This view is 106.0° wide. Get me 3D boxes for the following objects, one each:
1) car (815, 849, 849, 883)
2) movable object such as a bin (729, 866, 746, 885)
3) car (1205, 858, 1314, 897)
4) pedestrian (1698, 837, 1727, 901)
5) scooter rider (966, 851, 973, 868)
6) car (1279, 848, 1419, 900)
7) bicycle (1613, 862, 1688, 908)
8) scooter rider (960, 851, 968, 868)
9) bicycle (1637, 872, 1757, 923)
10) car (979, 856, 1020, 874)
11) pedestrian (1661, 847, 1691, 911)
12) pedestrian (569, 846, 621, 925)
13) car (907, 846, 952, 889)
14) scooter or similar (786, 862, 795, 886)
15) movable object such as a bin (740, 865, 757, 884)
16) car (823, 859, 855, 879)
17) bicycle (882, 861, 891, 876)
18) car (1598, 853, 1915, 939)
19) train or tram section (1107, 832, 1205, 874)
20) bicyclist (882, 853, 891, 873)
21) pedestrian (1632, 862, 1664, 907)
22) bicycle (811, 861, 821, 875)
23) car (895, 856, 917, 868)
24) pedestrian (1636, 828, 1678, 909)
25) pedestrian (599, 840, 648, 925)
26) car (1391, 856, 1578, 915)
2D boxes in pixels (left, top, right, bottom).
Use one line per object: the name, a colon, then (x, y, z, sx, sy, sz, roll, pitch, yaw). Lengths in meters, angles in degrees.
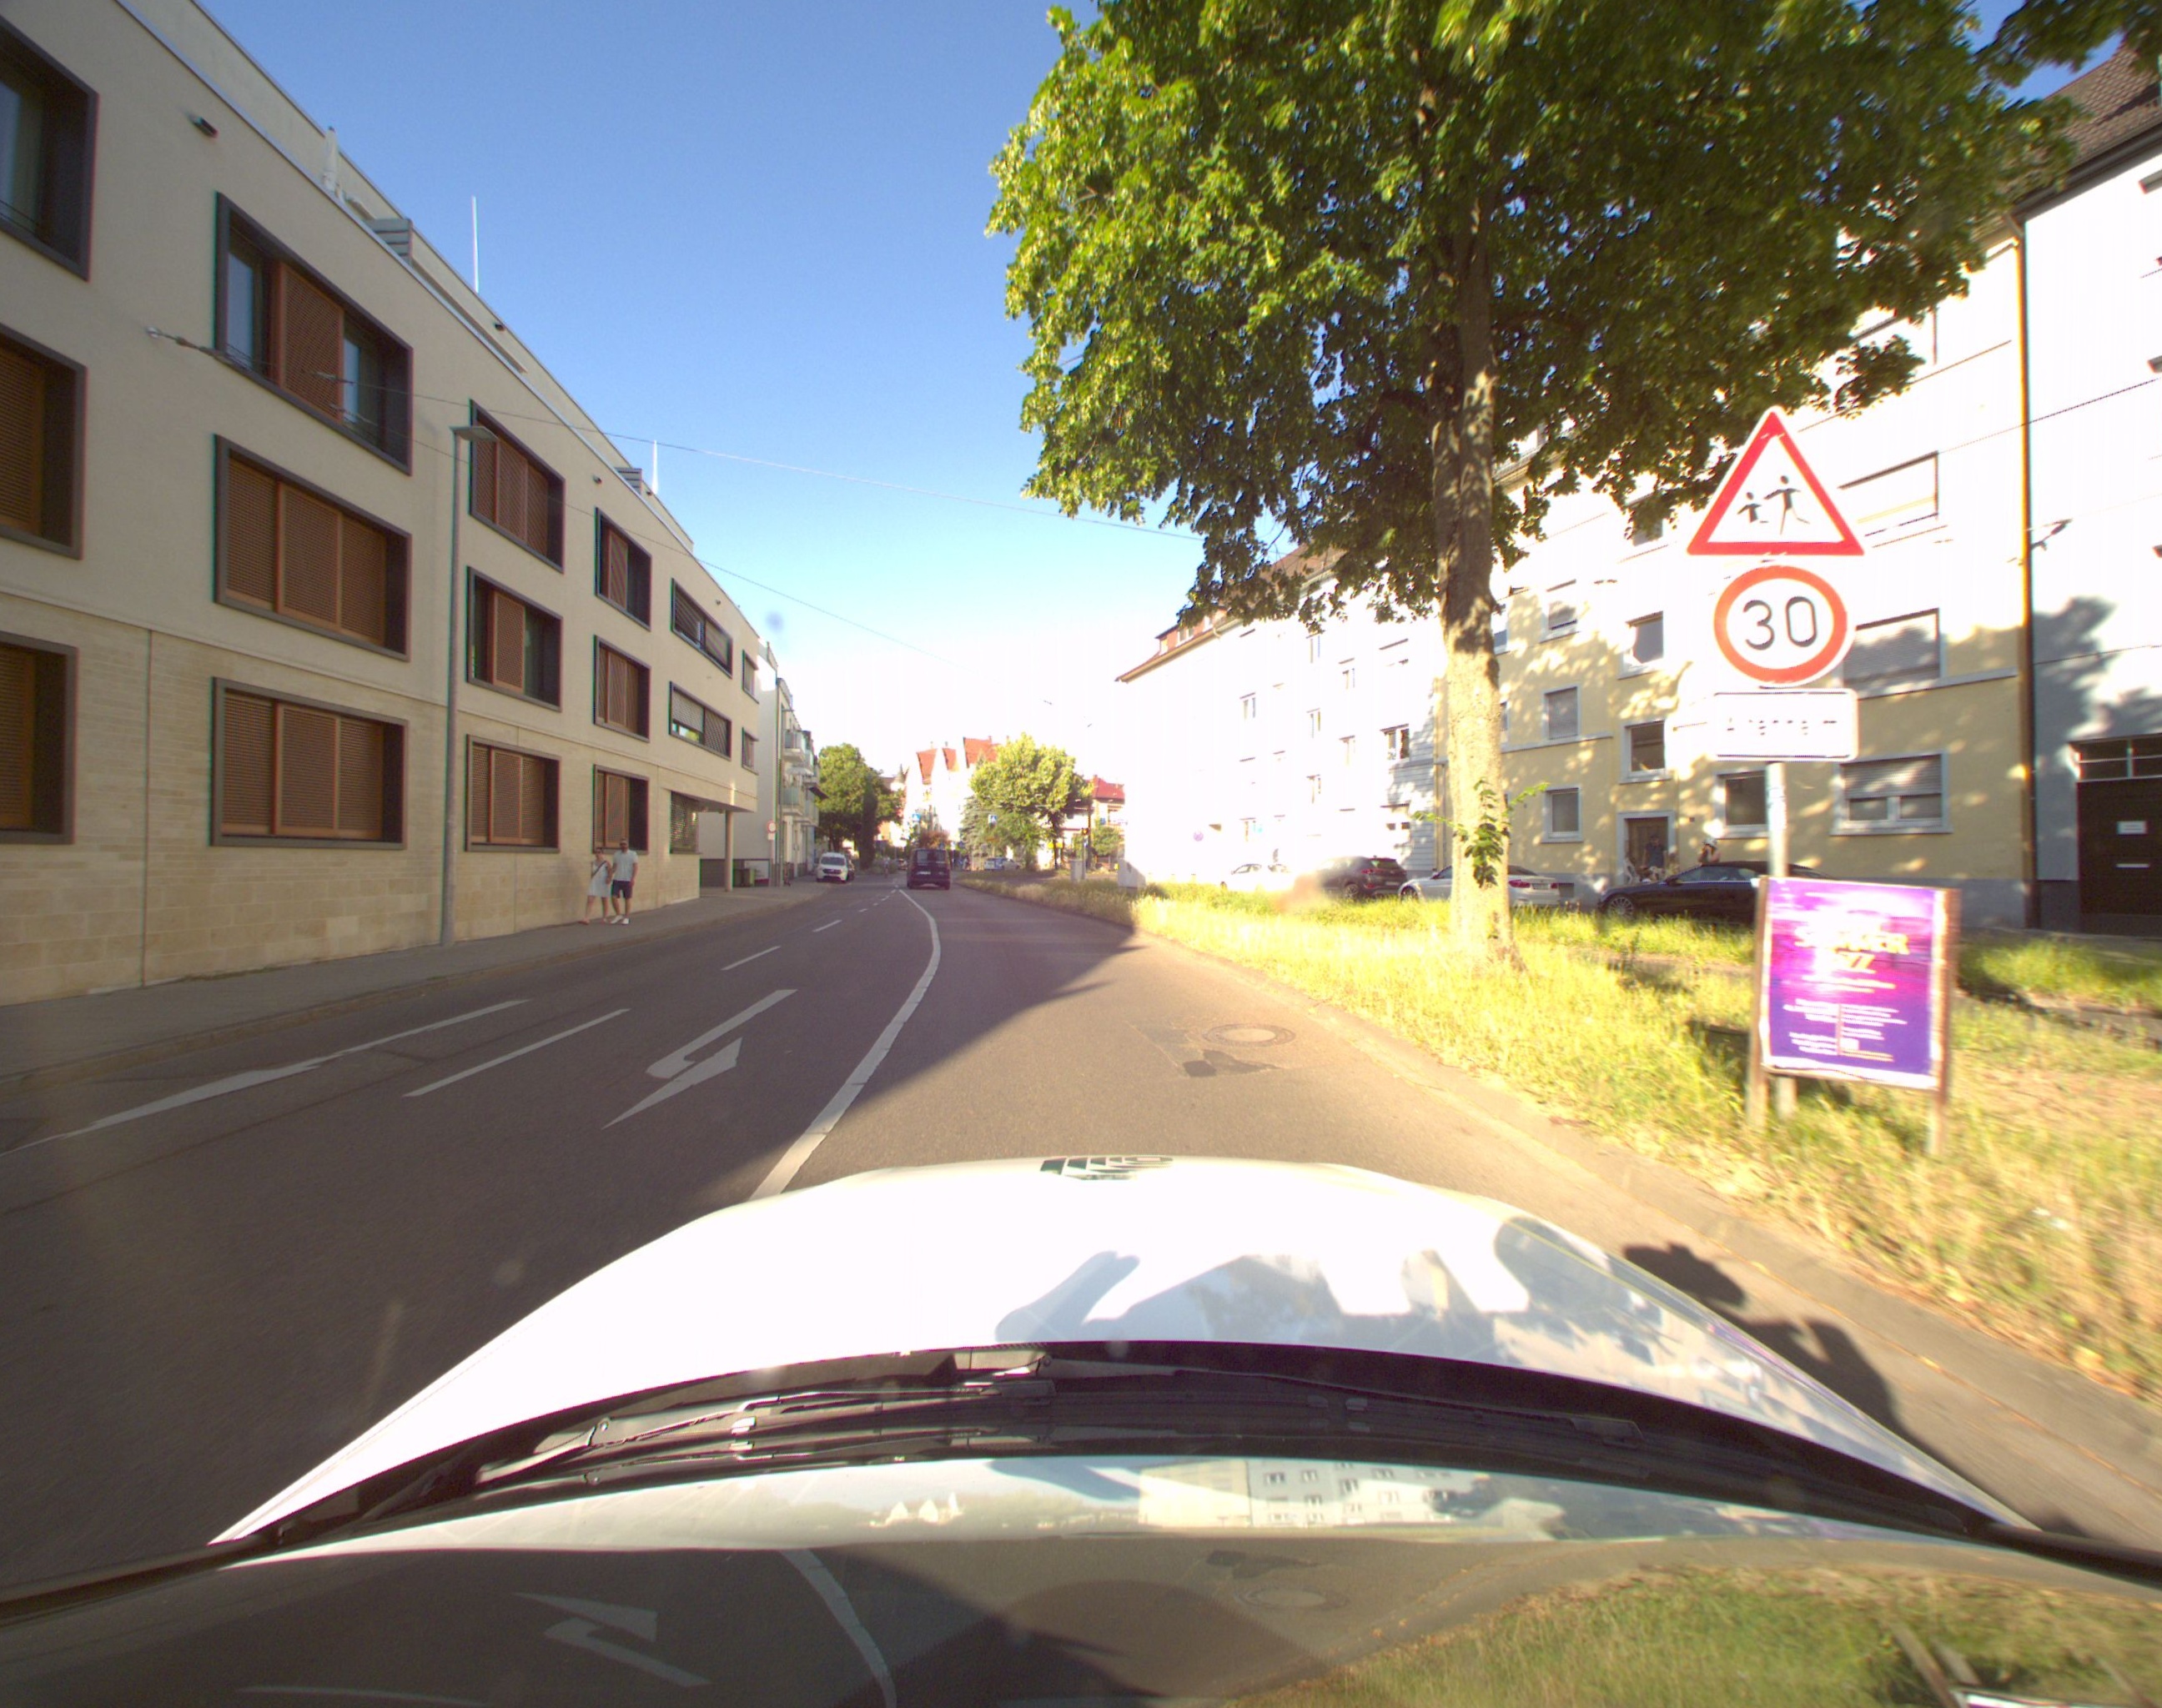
car: (-14.950, 0.717, 48.971, 1.815, 1.870, 4.307, 2, -1, -17)
movable object such as a bin: (-16.559, 1.032, 39.215, 0.545, 0.901, 0.531, 0, -1, 8)
car: (7.049, 0.877, 32.549, 2.003, 1.386, 4.410, -1, 1, -25)
pedestrian: (15.063, 0.359, 19.431, 0.306, 1.515, 0.439, -1, 0, -29)
scooter rider: (-11.277, 0.554, 82.350, 0.609, 1.672, 0.649, -1, 0, -24)
car: (8.936, 0.657, 27.598, 2.001, 1.572, 4.607, -1, -1, -22)
bicycle: (14.596, 0.778, 20.907, 0.536, 1.131, 1.504, -1, -1, -22)
scooter rider: (-11.773, 0.554, 81.916, 0.609, 1.672, 0.649, -1, 0, -24)
bicycle: (14.505, 0.992, 19.269, 0.536, 1.131, 2.291, -1, -1, -22)
car: (-7.303, 0.944, 73.137, 1.940, 1.505, 3.707, -1, 0, 26)
pedestrian: (14.173, 0.588, 19.403, 0.333, 1.515, 0.439, -1, 0, -26)
pedestrian: (-10.812, 0.692, 18.143, 0.702, 1.714, 0.840, 1, -1, -8)
car: (-7.516, 0.629, 40.781, 1.992, 2.013, 3.989, 1, 0, -8)
scooter or similar: (-14.816, 1.013, 41.470, 0.226, 1.220, 1.144, 1, 0, -29)
movable object such as a bin: (-15.998, 0.999, 39.137, 0.545, 0.901, 0.531, 0, -1, 8)
car: (-16.017, 0.982, 53.955, 1.665, 1.273, 4.009, 2, -1, -12)
bicycle: (-14.150, 1.050, 59.322, 0.623, 1.081, 1.775, -1, -1, -14)
car: (12.993, 0.700, 16.062, 2.001, 1.386, 4.414, -1, 1, -22)
train or tram section: (6.840, -0.091, 72.933, 9.974, 3.555, 2.751, 0, 0, -43)
bicyclist: (-14.169, 0.648, 59.377, 0.623, 1.380, 0.797, -1, -1, -14)
pedestrian: (13.537, 0.716, 19.456, 0.433, 1.065, 0.458, 0, -1, -21)
bicycle: (-21.249, 1.100, 65.182, 0.579, 1.109, 1.856, 1, -1, -24)
car: (-22.769, 1.049, 105.661, 2.003, 1.596, 3.967, 1, -1, -25)
pedestrian: (14.733, 0.366, 20.843, 0.614, 2.014, 0.645, 0, -1, -22)
pedestrian: (-10.228, 0.637, 18.226, 0.605, 1.849, 0.990, 1, -1, -8)
car: (10.897, 0.770, 22.364, 2.001, 1.386, 4.414, -1, 1, -22)
